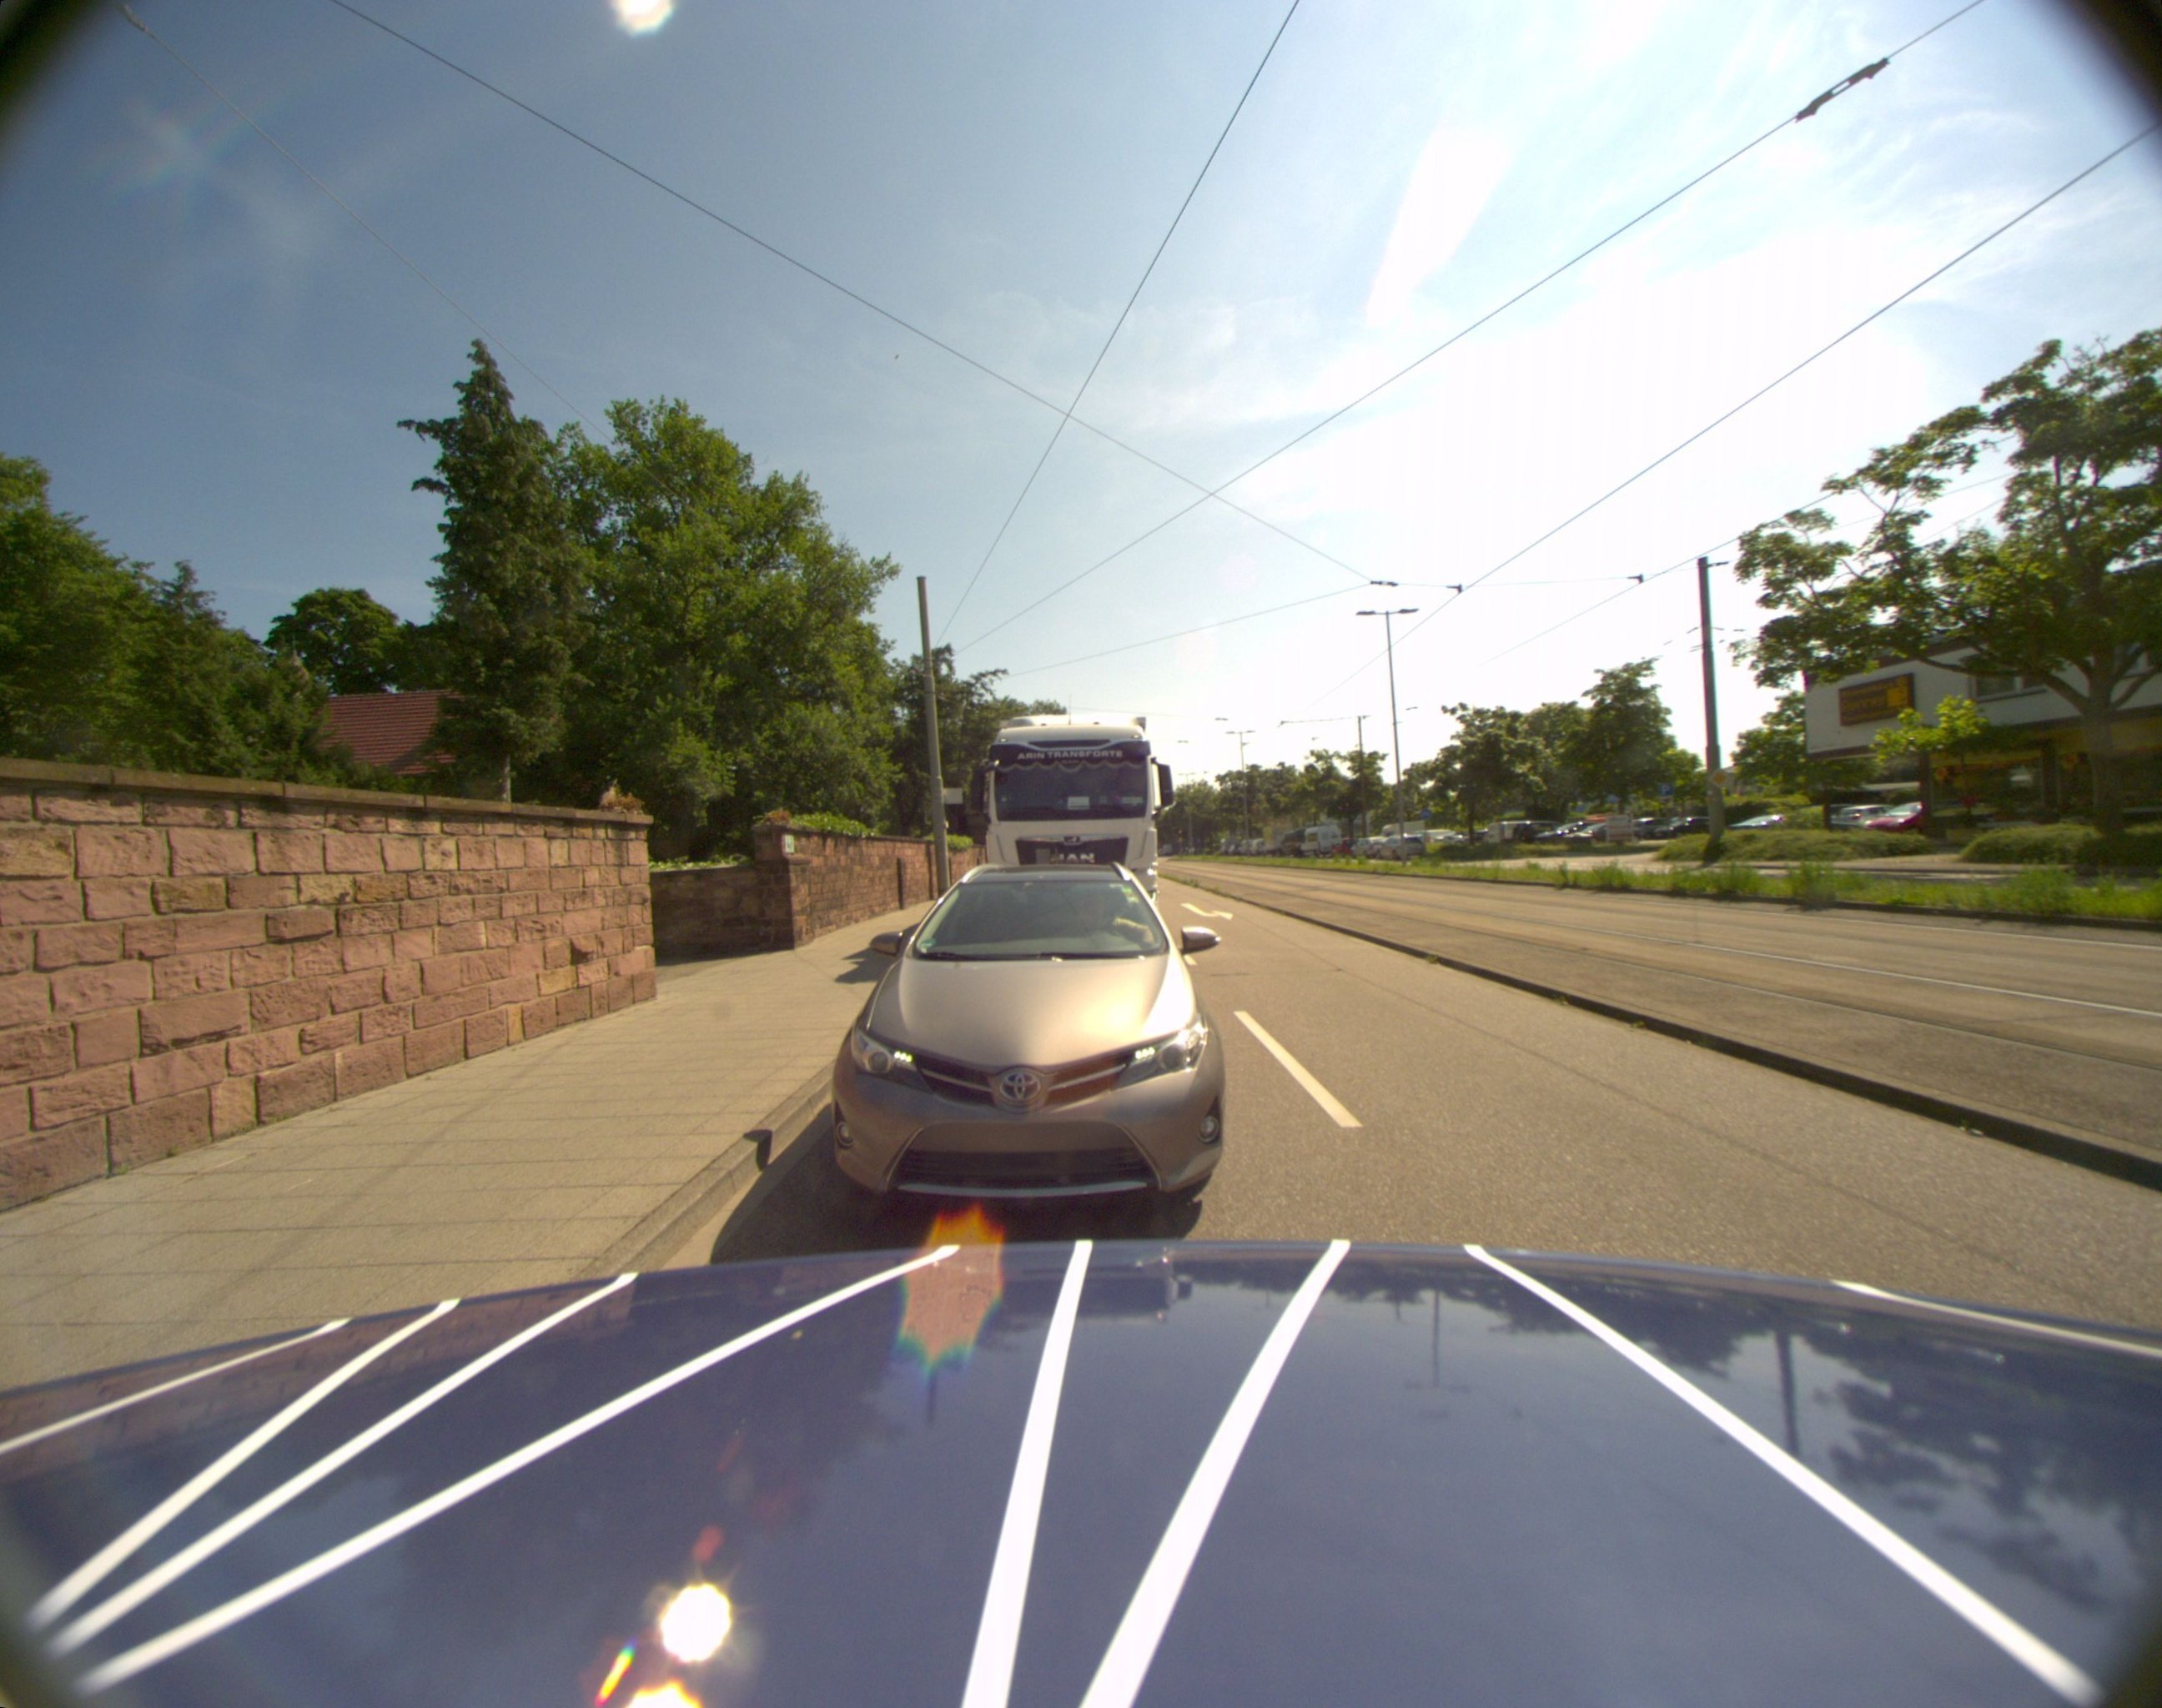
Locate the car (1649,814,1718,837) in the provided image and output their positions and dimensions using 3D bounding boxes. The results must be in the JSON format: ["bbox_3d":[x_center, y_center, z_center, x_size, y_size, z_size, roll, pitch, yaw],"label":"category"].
[{"bbox_3d":[43.542,-2.064,54.951,3.624,1.353,1.712,-3,1,-1],"label":"car"}]

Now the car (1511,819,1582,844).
[{"bbox_3d":[30.705,-1.466,50.210,3.624,1.353,1.712,-3,1,-1],"label":"car"}]

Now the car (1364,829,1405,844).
[{"bbox_3d":[32.013,-1.829,80.225,3.624,1.274,1.712,-3,1,-1],"label":"car"}]

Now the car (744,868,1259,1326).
[{"bbox_3d":[-0.251,0.912,4.927,1.742,1.424,4.462,-3,0,1],"label":"car"}]

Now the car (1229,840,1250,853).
[{"bbox_3d":[20.919,-1.032,100.308,1.893,1.551,4.232,-3,0,0],"label":"car"}]

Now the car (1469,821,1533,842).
[{"bbox_3d":[30.382,-1.605,55.003,3.624,1.277,1.712,-3,1,-1],"label":"car"}]

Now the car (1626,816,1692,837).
[{"bbox_3d":[43.744,-2.062,57.543,3.624,1.353,1.712,-3,1,-1],"label":"car"}]

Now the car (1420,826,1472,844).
[{"bbox_3d":[31.697,-1.650,66.036,3.624,1.274,1.712,-3,1,-1],"label":"car"}]

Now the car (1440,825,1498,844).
[{"bbox_3d":[31.070,-1.567,60.884,3.624,1.274,1.812,-3,1,-1],"label":"car"}]

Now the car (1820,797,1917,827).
[{"bbox_3d":[43.791,-2.319,42.318,3.624,1.353,1.712,-3,1,-1],"label":"car"}]

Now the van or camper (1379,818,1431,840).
[{"bbox_3d":[44.870,-3.429,105.408,6.081,2.715,2.299,-3,1,3],"label":"van or camper"}]

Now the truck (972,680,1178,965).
[{"bbox_3d":[-0.020,-0.461,15.065,2.746,3.852,9.110,-2,1,1],"label":"truck"}]

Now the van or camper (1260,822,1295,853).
[{"bbox_3d":[20.298,-1.641,78.755,2.128,2.968,5.281,-3,0,0],"label":"van or camper"}]

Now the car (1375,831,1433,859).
[{"bbox_3d":[20.385,-0.548,48.173,1.892,1.486,4.285,-6,0,2],"label":"car"}]

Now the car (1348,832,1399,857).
[{"bbox_3d":[20.540,-0.654,53.506,1.893,1.551,4.285,-3,0,0],"label":"car"}]

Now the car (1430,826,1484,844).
[{"bbox_3d":[31.465,-1.614,63.708,3.624,1.274,1.712,-3,1,-1],"label":"car"}]

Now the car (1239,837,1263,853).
[{"bbox_3d":[21.061,-1.125,94.305,1.893,1.757,4.232,-3,0,0],"label":"car"}]

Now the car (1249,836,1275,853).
[{"bbox_3d":[20.787,-1.063,87.369,1.893,1.724,4.232,-3,0,0],"label":"car"}]

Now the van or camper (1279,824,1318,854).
[{"bbox_3d":[20.223,-1.371,70.865,2.040,2.617,4.839,-3,0,0],"label":"van or camper"}]

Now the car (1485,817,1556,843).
[{"bbox_3d":[30.454,-1.665,52.676,3.749,1.560,1.951,-3,1,-1],"label":"car"}]

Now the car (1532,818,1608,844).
[{"bbox_3d":[30.501,-1.426,47.468,3.624,1.353,1.712,-3,1,-1],"label":"car"}]

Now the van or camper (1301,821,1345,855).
[{"bbox_3d":[20.276,-1.292,63.810,2.040,2.617,4.839,-3,0,0],"label":"van or camper"}]

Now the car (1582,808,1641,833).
[{"bbox_3d":[43.606,-2.752,62.529,3.624,1.767,1.712,-3,1,-1],"label":"car"}]

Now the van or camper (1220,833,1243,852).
[{"bbox_3d":[21.153,-1.607,107.248,2.114,2.604,5.451,-2,1,1],"label":"van or camper"}]

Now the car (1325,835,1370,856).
[{"bbox_3d":[20.572,-0.651,58.855,1.893,1.486,4.232,-3,0,0],"label":"car"}]
